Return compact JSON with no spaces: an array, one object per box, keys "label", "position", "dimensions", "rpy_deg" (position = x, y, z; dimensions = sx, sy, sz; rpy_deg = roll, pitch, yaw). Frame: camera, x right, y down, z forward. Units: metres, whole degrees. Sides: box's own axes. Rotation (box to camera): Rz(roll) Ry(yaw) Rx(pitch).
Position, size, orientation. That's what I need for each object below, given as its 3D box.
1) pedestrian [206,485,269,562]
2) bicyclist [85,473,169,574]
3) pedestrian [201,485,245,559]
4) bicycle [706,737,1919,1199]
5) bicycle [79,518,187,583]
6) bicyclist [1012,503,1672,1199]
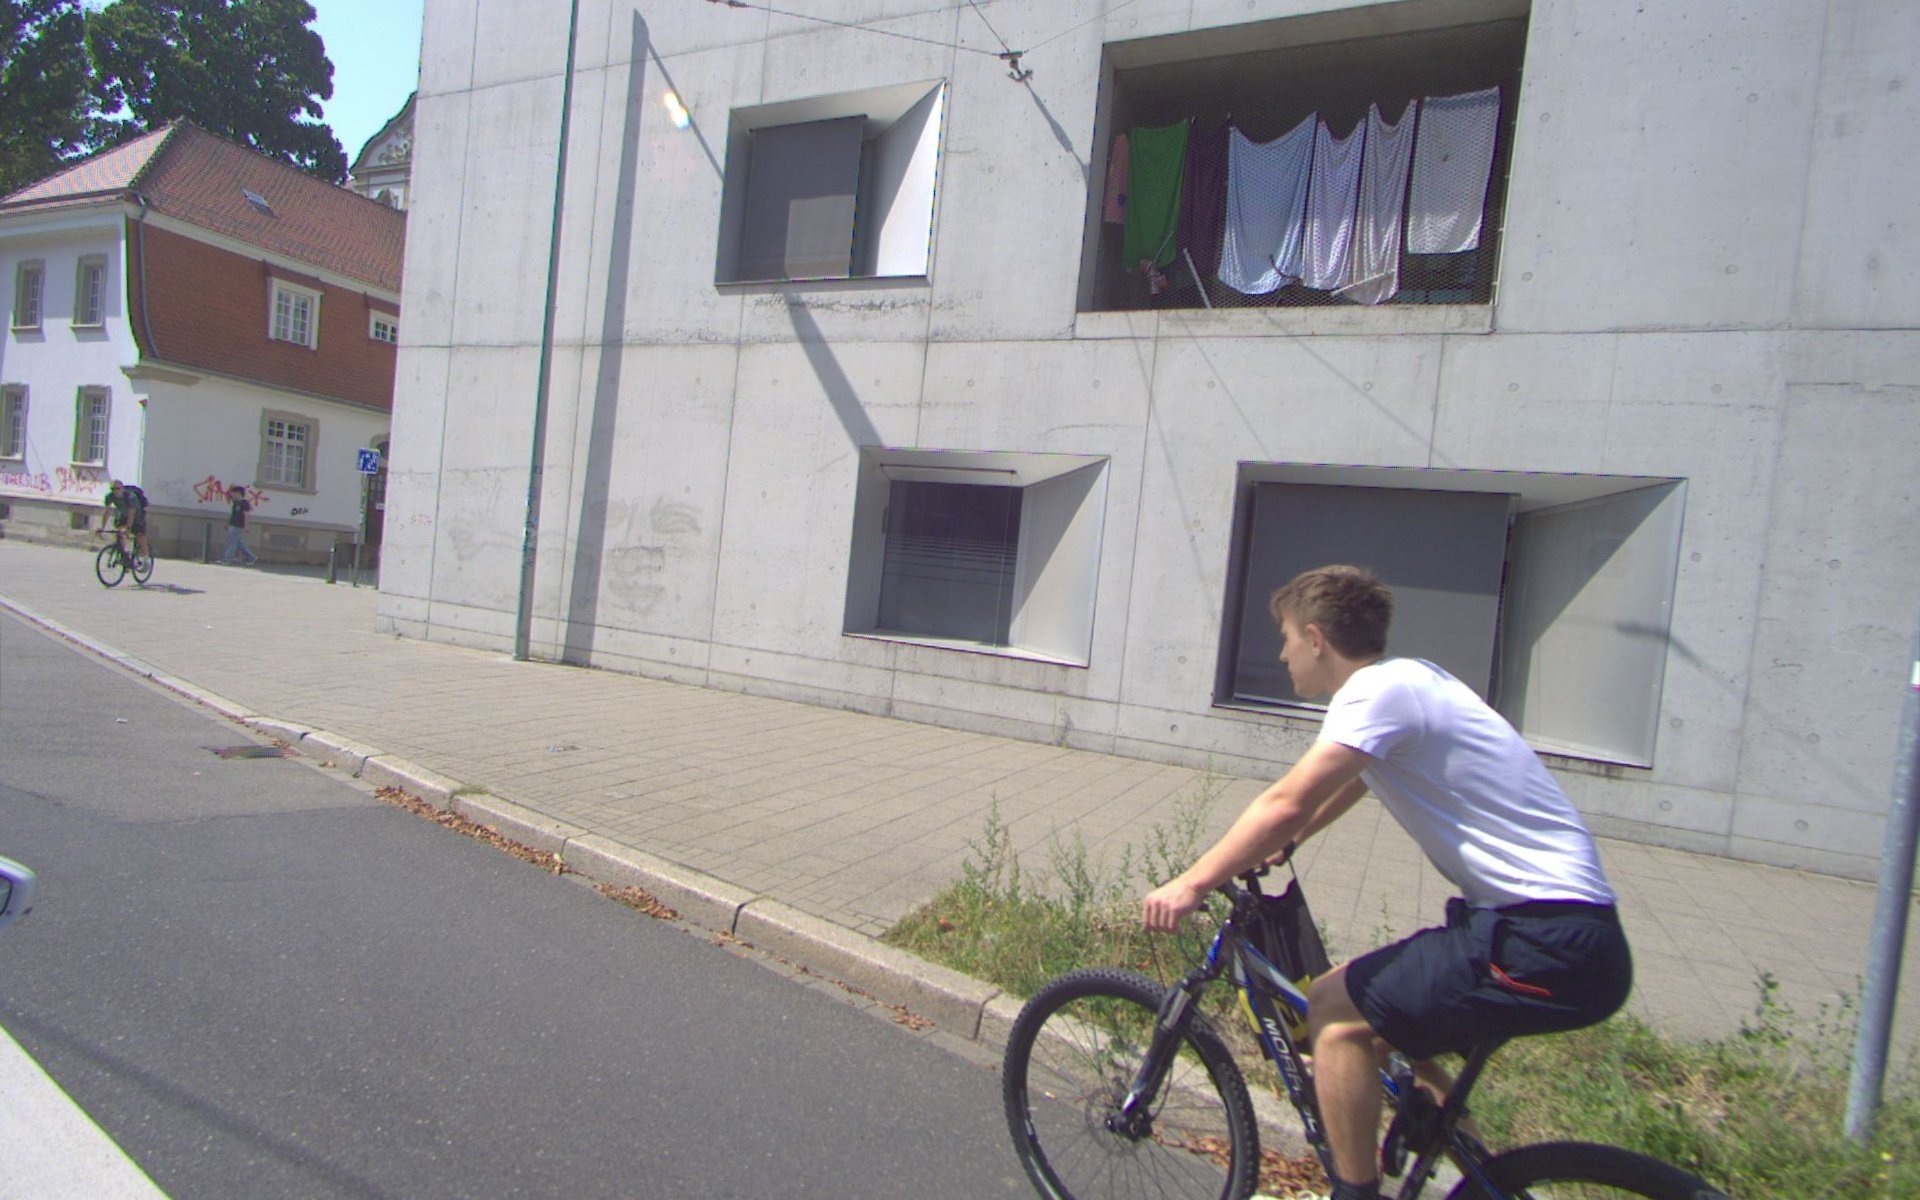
[{"label":"pedestrian","position":[-17.084,-1.795,23.799],"dimensions":[0.716,1.687,0.878],"rpy_deg":[7,2,21]},{"label":"bicyclist","position":[-14.120,-1.274,17.083],"dimensions":[0.617,1.620,0.990],"rpy_deg":[4,2,-9]},{"label":"pedestrian","position":[-17.689,-1.867,24.145],"dimensions":[0.608,1.688,0.486],"rpy_deg":[7,2,21]},{"label":"bicycle","position":[0.603,1.031,2.180],"dimensions":[2.193,1.062,0.740],"rpy_deg":[7,2,25]},{"label":"bicycle","position":[-14.182,-0.826,17.304],"dimensions":[0.605,1.012,1.708],"rpy_deg":[5,1,-10]},{"label":"bicyclist","position":[0.753,0.585,2.111],"dimensions":[0.944,1.430,0.746],"rpy_deg":[7,2,25]}]
